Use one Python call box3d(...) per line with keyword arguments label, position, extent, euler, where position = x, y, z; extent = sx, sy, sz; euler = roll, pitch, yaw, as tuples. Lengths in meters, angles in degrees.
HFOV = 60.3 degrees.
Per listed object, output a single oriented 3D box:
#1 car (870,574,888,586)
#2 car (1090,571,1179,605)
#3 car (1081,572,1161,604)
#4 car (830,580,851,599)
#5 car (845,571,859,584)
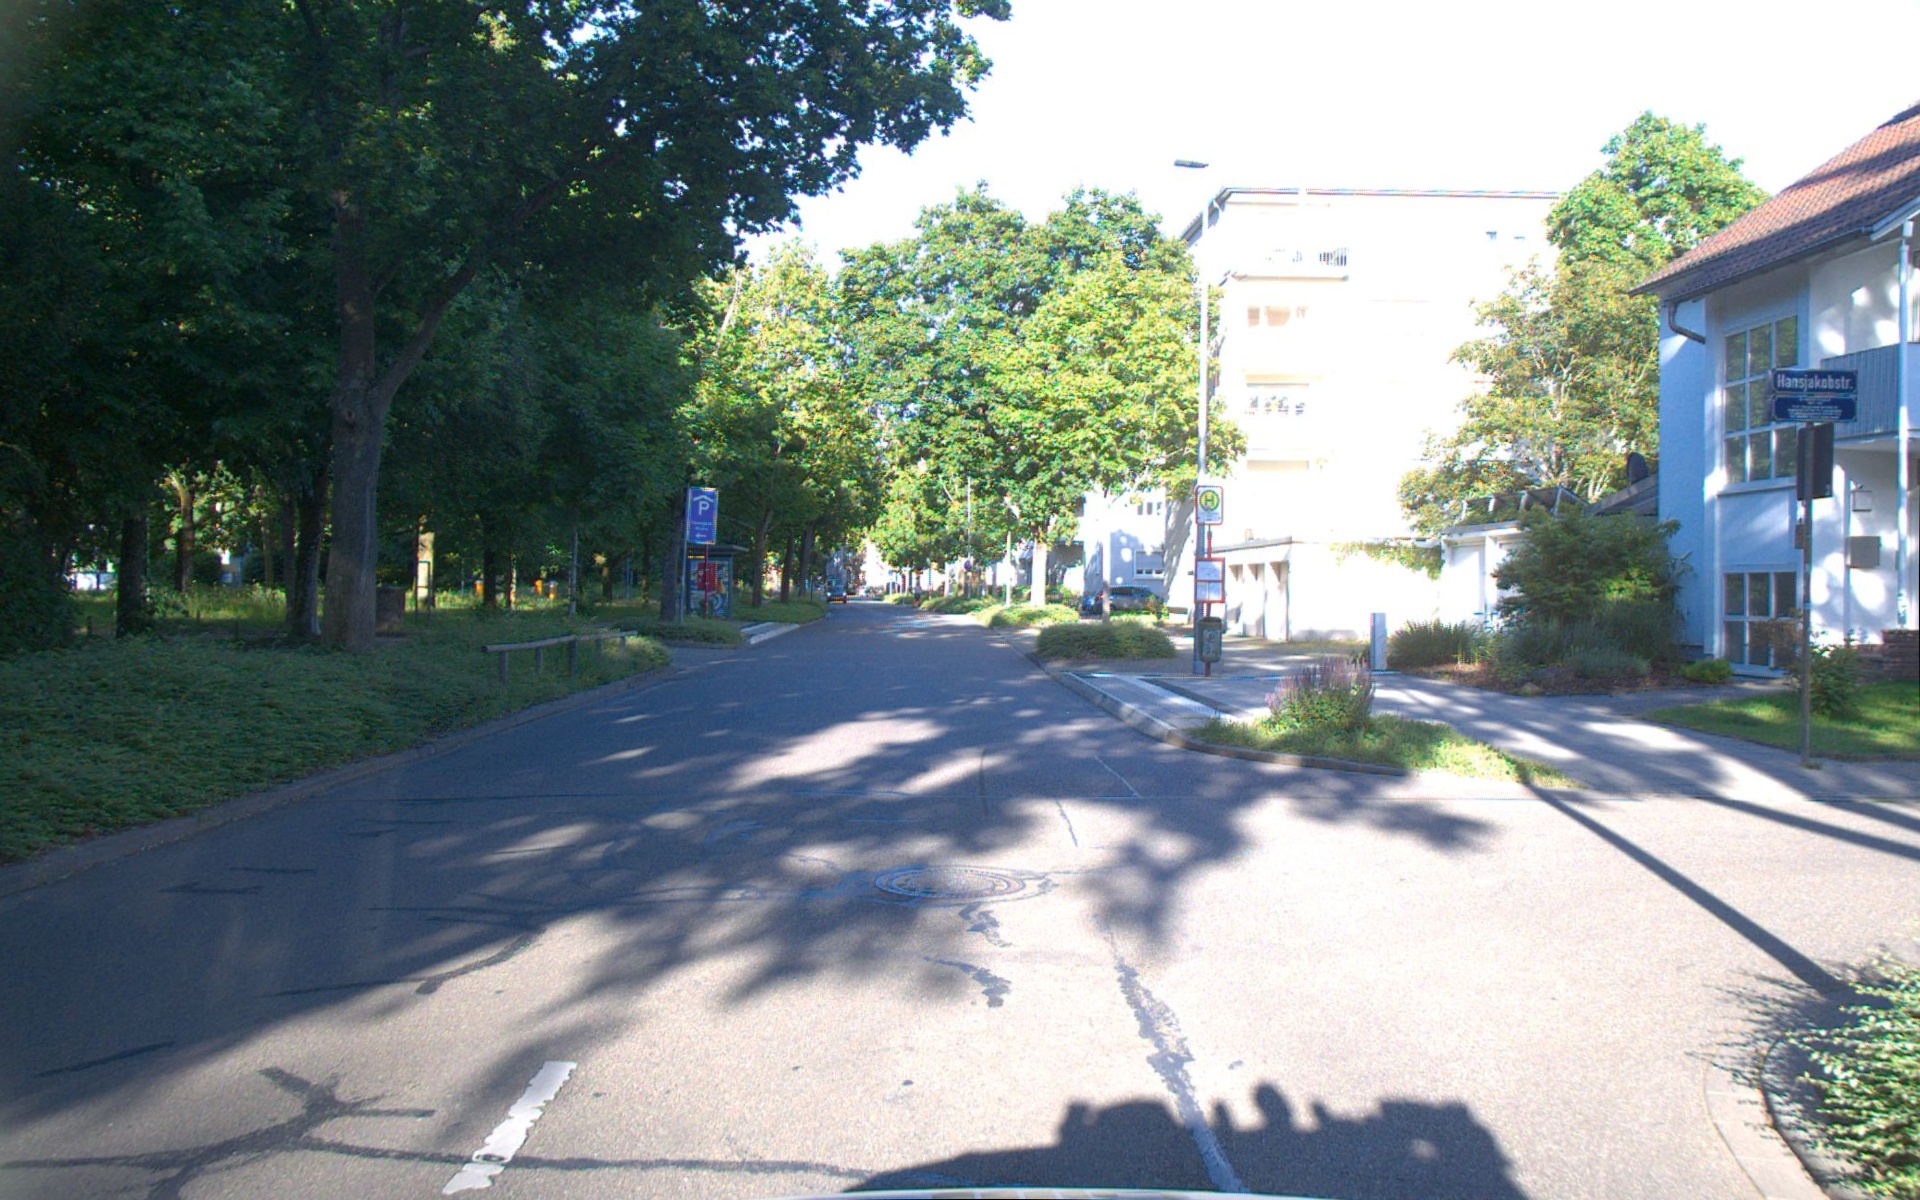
box3d(label="car", position=(-10.830, -2.704, 220.013), extent=(1.780, 1.527, 3.987), euler=(0, 1, -13))
box3d(label="car", position=(8.368, -0.582, 79.490), extent=(3.961, 1.541, 1.725), euler=(1, -1, -5))
box3d(label="car", position=(8.467, -0.654, 87.279), extent=(3.910, 1.609, 1.808), euler=(0, 2, -6))
box3d(label="car", position=(-10.897, -0.969, 150.991), extent=(1.808, 1.606, 4.332), euler=(-1, 1, -4))
box3d(label="car", position=(-16.241, -3.390, 248.275), extent=(1.778, 1.959, 3.992), euler=(1, 1, -9))
